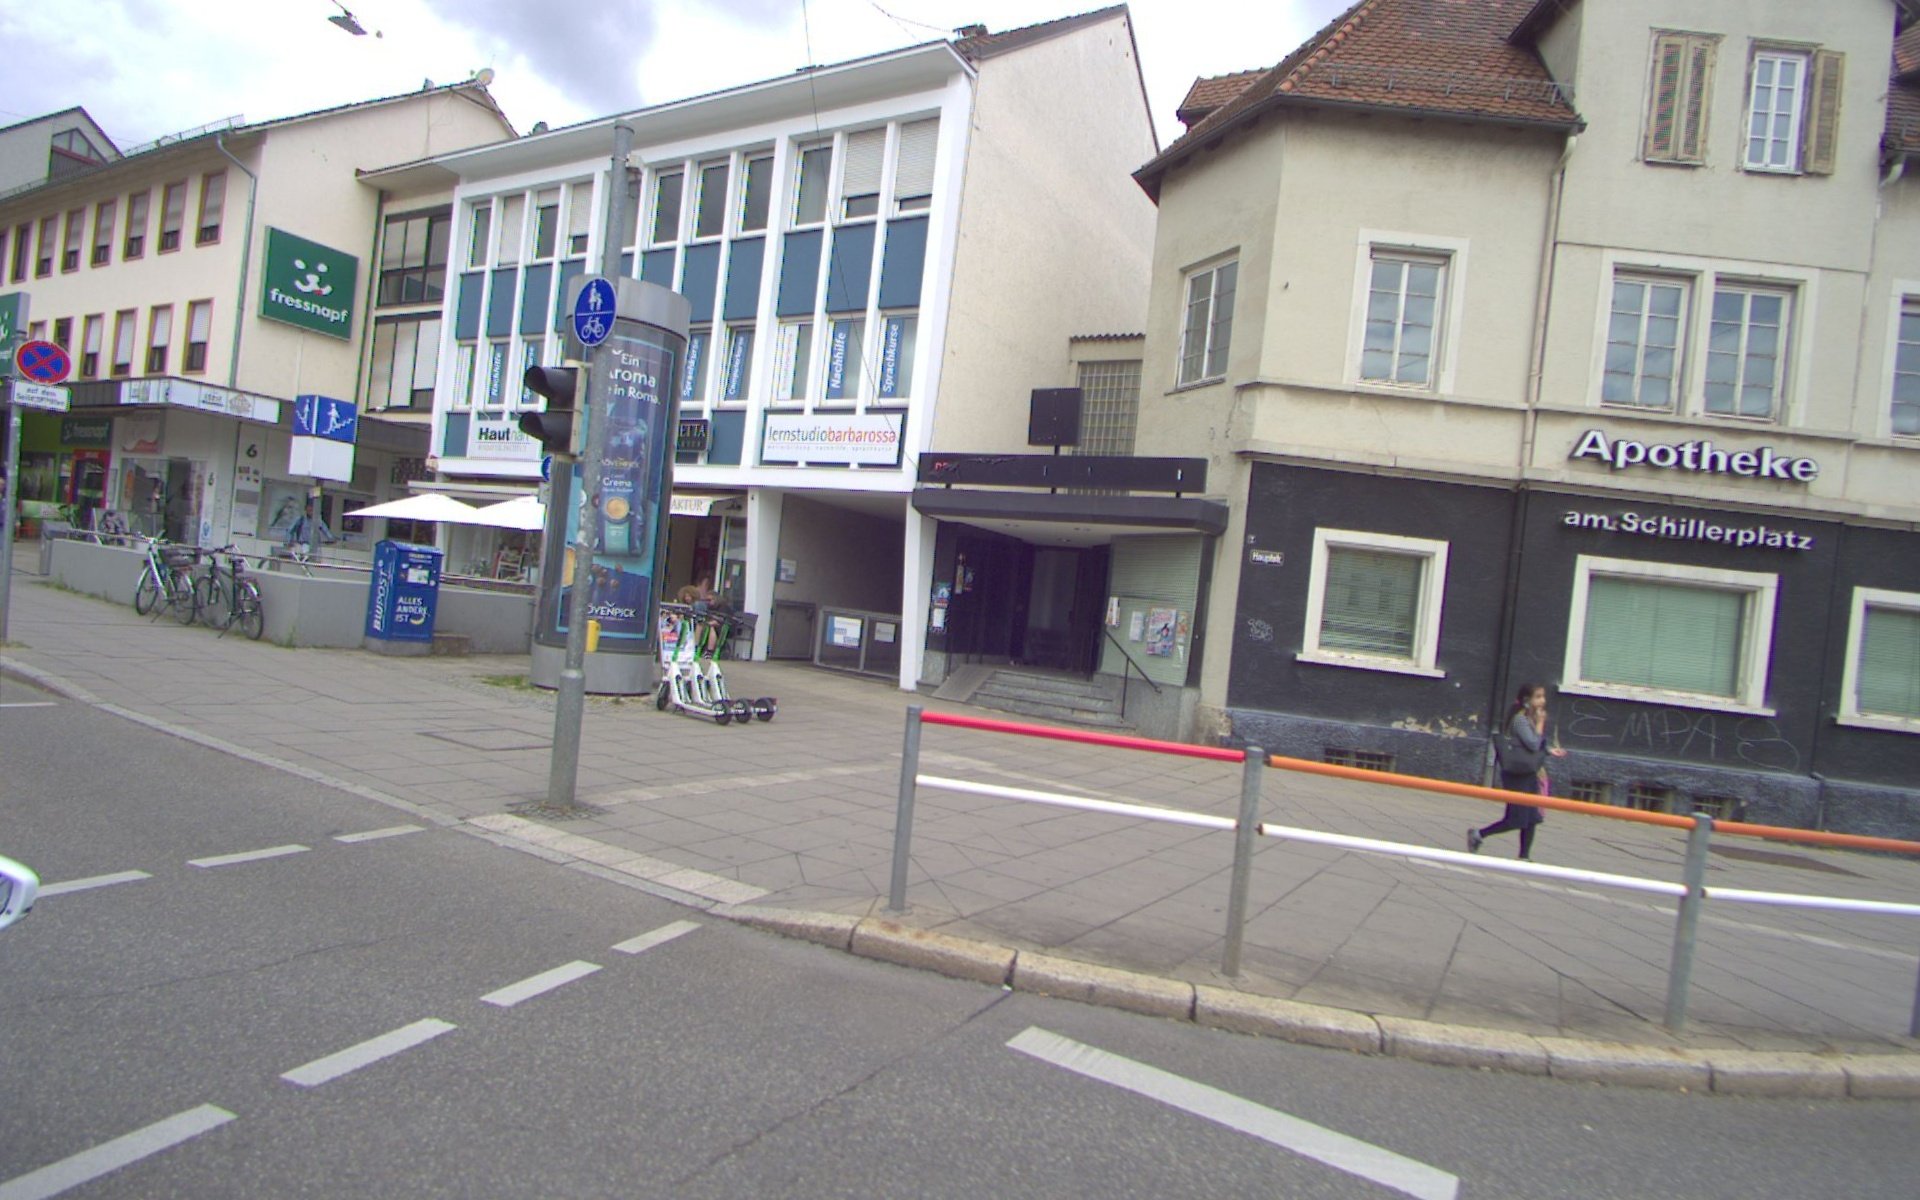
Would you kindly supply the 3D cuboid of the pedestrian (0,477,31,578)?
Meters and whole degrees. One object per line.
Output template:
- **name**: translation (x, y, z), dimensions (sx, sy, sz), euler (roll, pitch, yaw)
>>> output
- **pedestrian**: translation (-16.288, -1.253, 16.911), dimensions (0.839, 1.655, 0.688), euler (7, 1, 33)

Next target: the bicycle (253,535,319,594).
- **bicycle**: translation (-13.160, -0.699, 19.637), dimensions (1.362, 0.986, 0.274), euler (7, 1, 22)

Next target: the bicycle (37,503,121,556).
- **bicycle**: translation (-21.524, -1.731, 24.560), dimensions (2.311, 1.076, 0.742), euler (7, 1, 29)

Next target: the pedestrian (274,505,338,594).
- **pedestrian**: translation (-12.997, -1.003, 19.994), dimensions (0.787, 1.654, 0.667), euler (7, 0, 31)

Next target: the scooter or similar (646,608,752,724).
- **scooter or similar**: translation (-2.966, 0.736, 11.386), dimensions (1.188, 1.147, 0.315), euler (7, 1, 32)

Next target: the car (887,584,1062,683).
- **car**: translation (0.412, 0.784, 21.562), dimensions (1.707, 1.686, 3.970), euler (7, -1, 34)

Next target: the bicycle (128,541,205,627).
- **bicycle**: translation (-10.489, -0.222, 13.284), dimensions (1.364, 0.986, 0.274), euler (7, 1, 32)

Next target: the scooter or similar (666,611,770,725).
- **scooter or similar**: translation (-2.821, 0.776, 11.701), dimensions (1.188, 1.147, 0.315), euler (7, 1, 32)

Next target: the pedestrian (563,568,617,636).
- **pedestrian**: translation (-7.374, 0.049, 20.040), dimensions (0.578, 1.233, 0.615), euler (7, -2, 28)

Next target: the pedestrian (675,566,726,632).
- **pedestrian**: translation (-5.304, -0.012, 20.544), dimensions (0.578, 1.233, 0.615), euler (7, -2, 29)

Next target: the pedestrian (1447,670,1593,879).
- **pedestrian**: translation (4.821, 1.474, 8.693), dimensions (0.731, 1.640, 0.588), euler (8, -2, -1)

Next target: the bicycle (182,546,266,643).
- **bicycle**: translation (-9.210, -0.075, 12.579), dimensions (1.364, 1.066, 0.274), euler (7, 1, 32)

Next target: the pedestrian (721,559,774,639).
- **pedestrian**: translation (-4.224, -0.011, 20.002), dimensions (0.578, 1.476, 0.615), euler (7, -2, 29)

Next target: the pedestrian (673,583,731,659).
- **pedestrian**: translation (-4.613, 0.376, 17.987), dimensions (0.578, 1.233, 0.615), euler (7, -2, 28)

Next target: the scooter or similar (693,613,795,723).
- **scooter or similar**: translation (-2.587, 0.793, 12.018), dimensions (1.188, 1.147, 0.315), euler (7, 1, 32)

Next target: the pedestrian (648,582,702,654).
- **pedestrian**: translation (-5.170, 0.332, 18.257), dimensions (0.578, 1.236, 0.614), euler (7, 2, 28)
